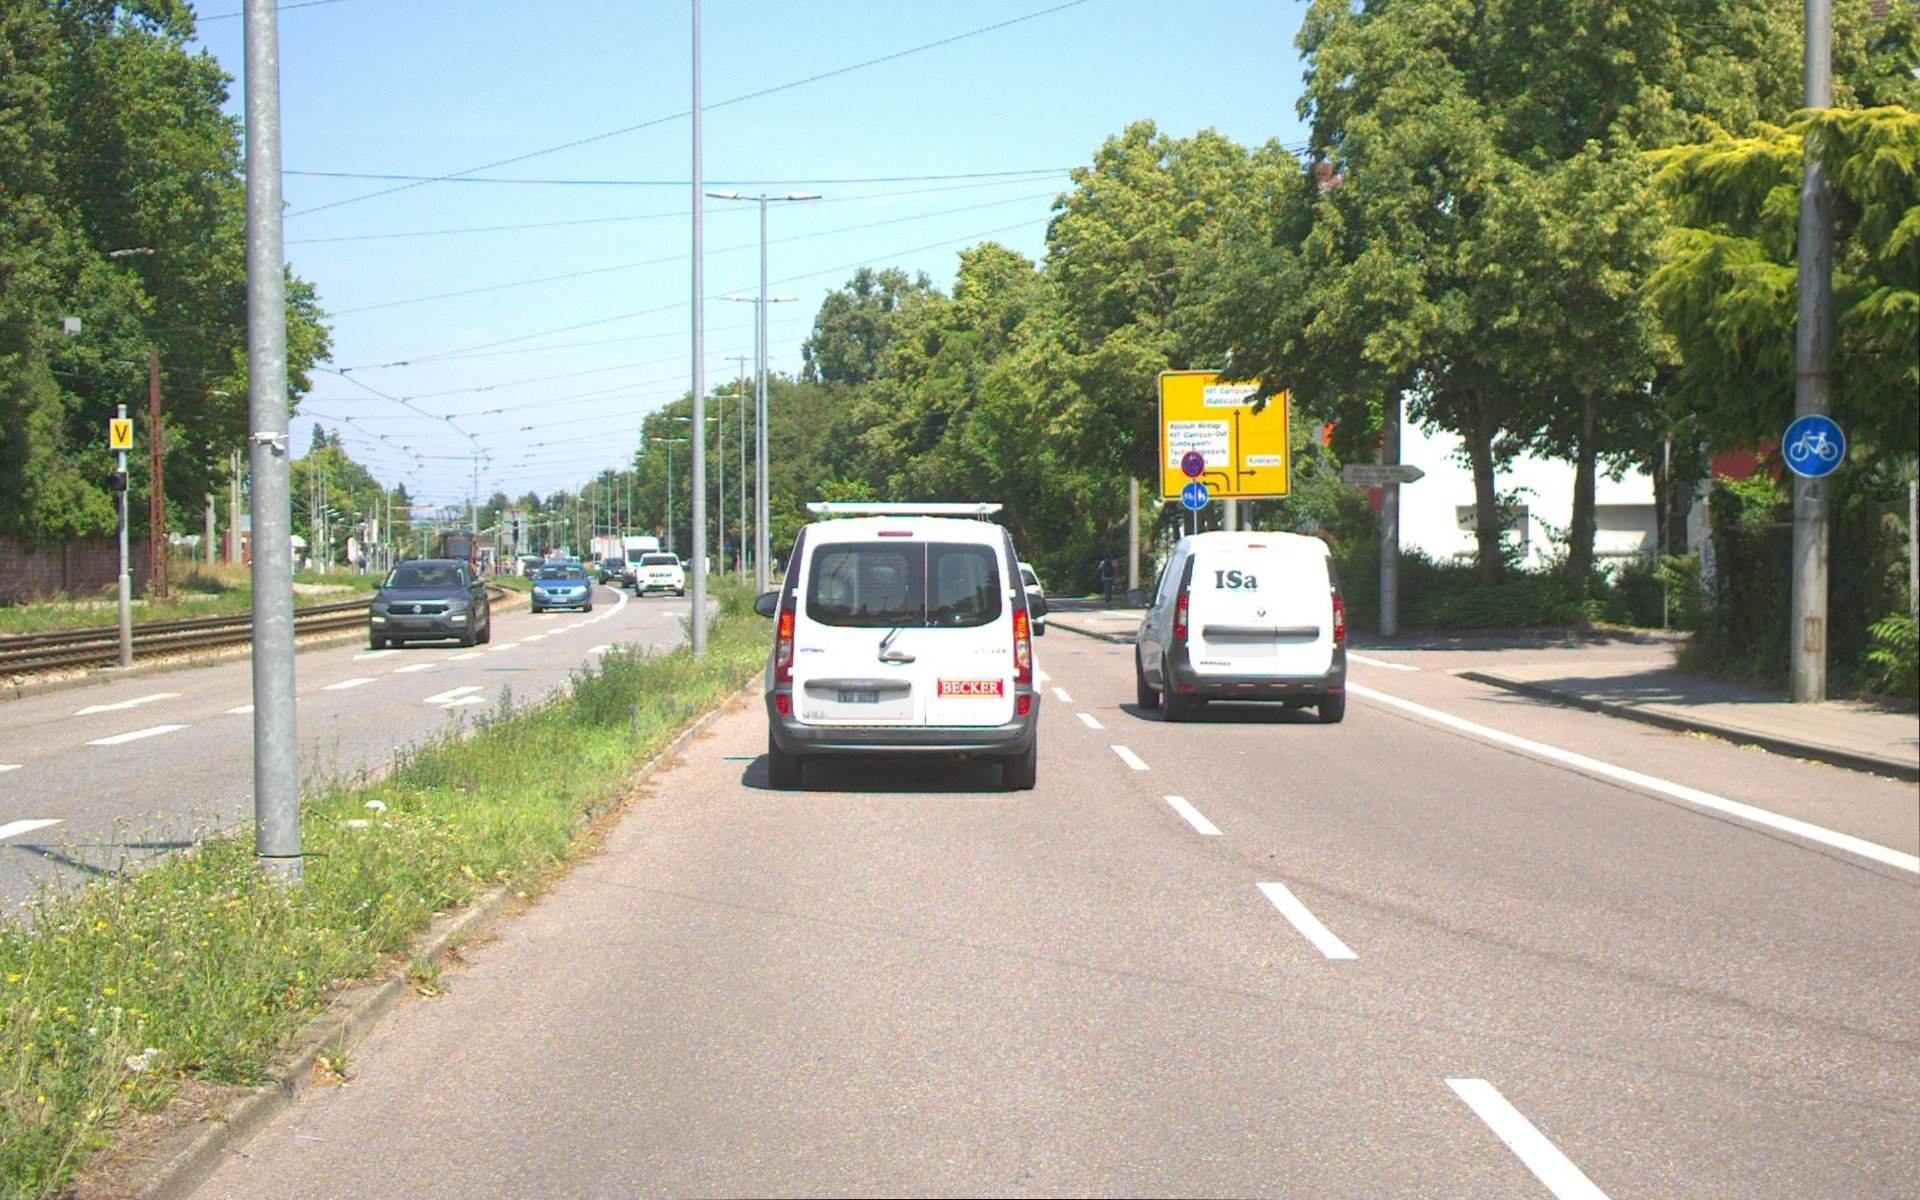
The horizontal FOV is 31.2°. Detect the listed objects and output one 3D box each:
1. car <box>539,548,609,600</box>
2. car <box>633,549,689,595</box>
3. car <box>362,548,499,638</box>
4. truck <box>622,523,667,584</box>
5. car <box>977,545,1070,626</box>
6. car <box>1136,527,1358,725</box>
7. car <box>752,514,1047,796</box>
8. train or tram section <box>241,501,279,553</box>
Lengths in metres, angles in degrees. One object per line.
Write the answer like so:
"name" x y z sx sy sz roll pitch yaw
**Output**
"car" -11.066 -0.755 98.753 1.697 1.434 4.001 -1 1 -3
"car" -12.042 -1.150 138.681 1.993 1.809 4.000 0 1 -1
"car" -9.413 -0.152 61.350 1.697 1.507 4.066 0 1 2
"truck" -16.952 -2.526 184.875 1.993 3.202 5.312 0 1 -1
"car" 1.319 -0.331 72.525 1.835 1.563 4.000 1 1 0
"car" 2.750 0.209 33.711 1.727 1.782 4.065 1 1 -1
"car" -0.382 0.305 23.781 1.821 1.733 4.396 1 1 0
"train or tram section" -49.529 -5.105 243.505 1.993 3.511 16.172 1 1 -10
